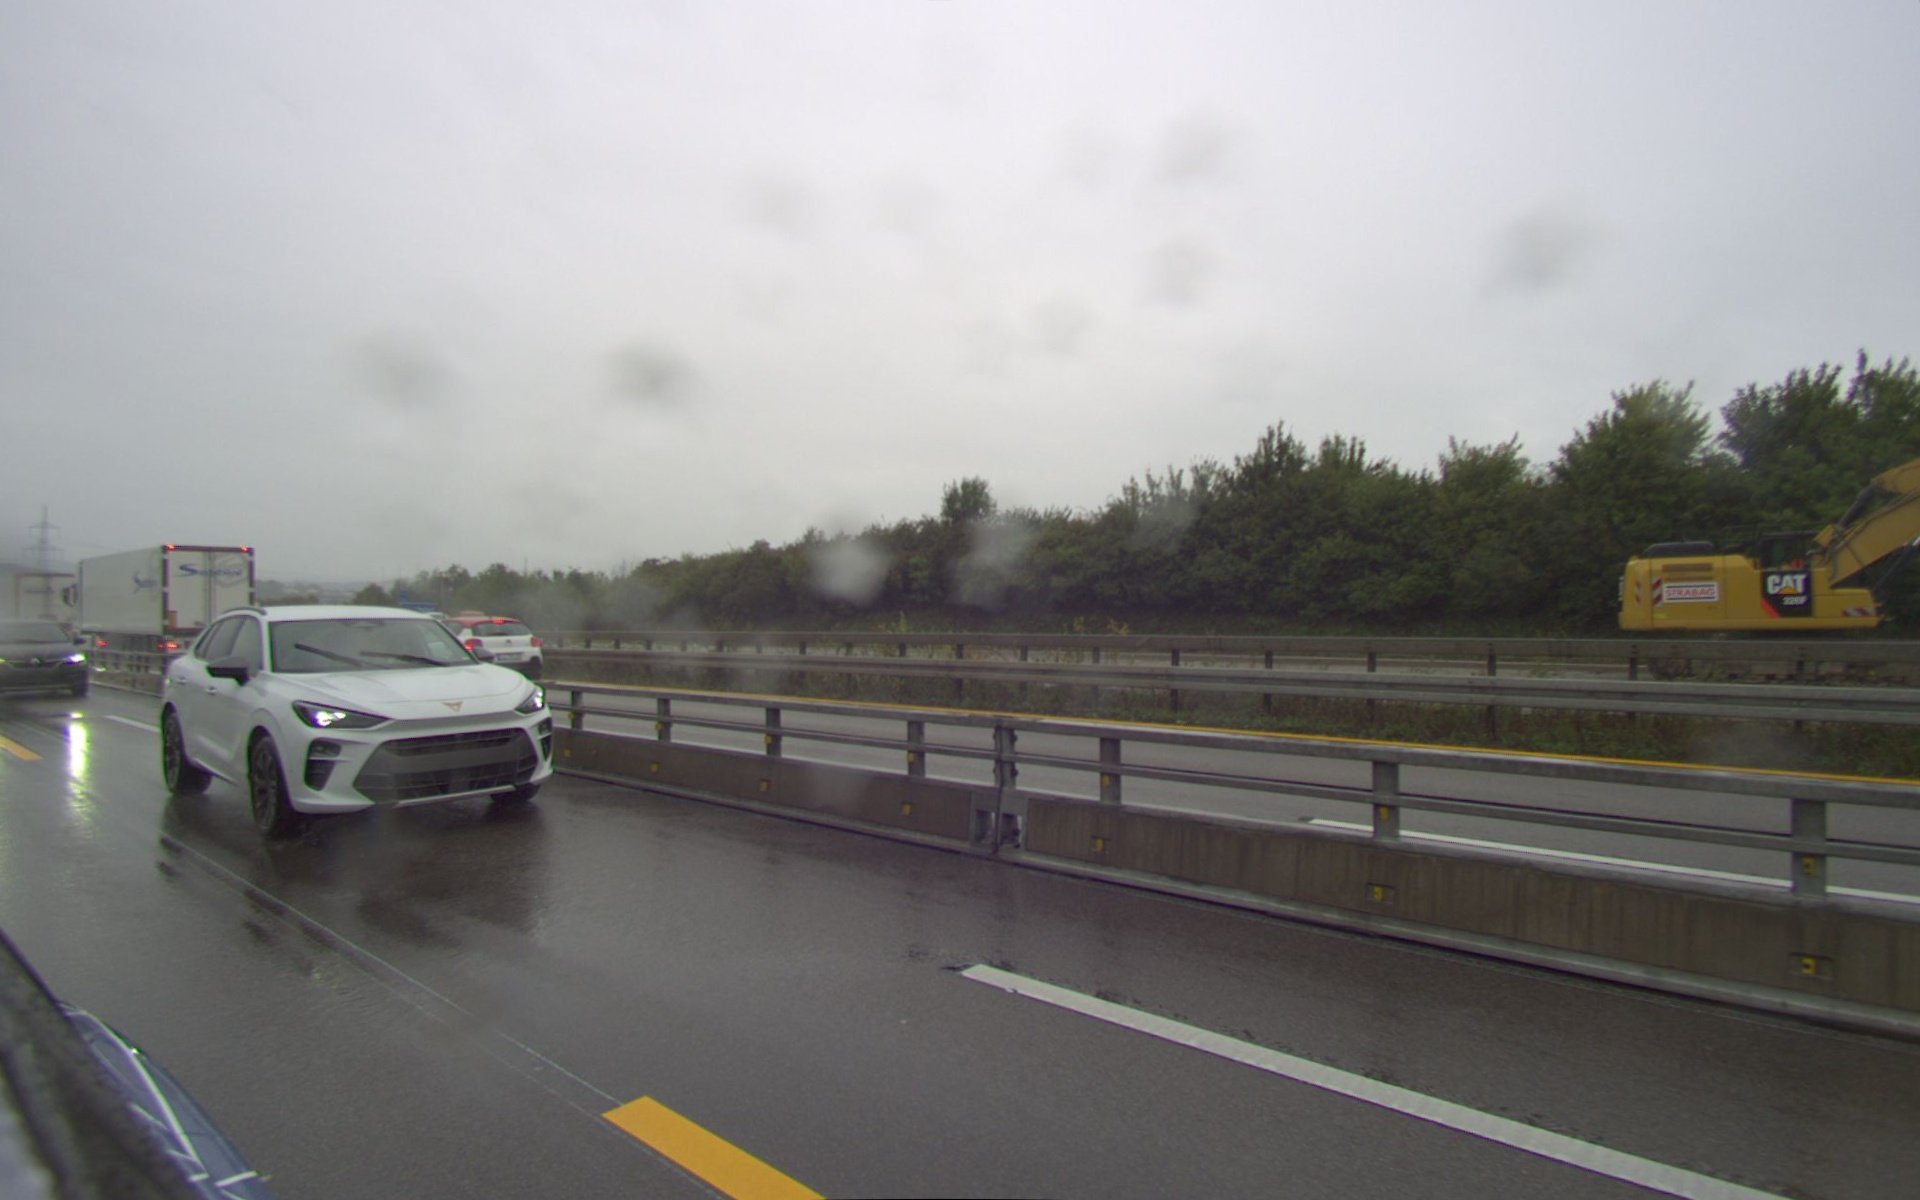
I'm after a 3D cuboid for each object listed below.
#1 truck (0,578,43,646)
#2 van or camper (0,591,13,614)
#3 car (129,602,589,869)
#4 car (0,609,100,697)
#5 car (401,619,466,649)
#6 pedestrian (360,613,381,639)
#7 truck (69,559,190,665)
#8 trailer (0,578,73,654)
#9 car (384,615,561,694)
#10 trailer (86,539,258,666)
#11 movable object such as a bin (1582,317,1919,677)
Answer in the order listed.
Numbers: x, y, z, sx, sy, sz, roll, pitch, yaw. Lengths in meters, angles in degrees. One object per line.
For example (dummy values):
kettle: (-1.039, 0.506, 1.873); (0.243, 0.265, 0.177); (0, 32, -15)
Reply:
truck: (-59.464, 0.792, 63.235); (6.444, 4.061, 2.458); (-2, -1, 41)
van or camper: (-140.459, 0.418, 145.796); (3.371, 3.370, 5.359); (-1, 0, 35)
car: (-5.167, 0.840, 8.332); (5.006, 1.562, 1.907); (-1, -1, 43)
car: (-19.656, 1.047, 21.093); (5.195, 1.640, 2.041); (-1, -1, 43)
car: (-36.637, 2.361, 70.429); (5.359, 1.981, 2.073); (-1, -1, 39)
pedestrian: (-48.322, 2.119, 82.993); (1.124, 2.029, 1.095); (-1, 0, 36)
truck: (-34.949, 0.575, 42.506); (6.923, 4.133, 2.853); (-2, -2, 41)
trailer: (-54.597, 0.857, 59.020); (12.578, 4.080, 2.469); (0, 0, 40)
car: (-10.689, 1.114, 22.069); (4.294, 1.517, 1.973); (-1, -1, 41)
trailer: (-29.849, 0.289, 38.012); (12.214, 4.121, 2.877); (-2, -2, 41)
movable object such as a bin: (17.825, -1.754, 17.813); (11.047, 5.959, 4.125); (-1, 0, 44)
